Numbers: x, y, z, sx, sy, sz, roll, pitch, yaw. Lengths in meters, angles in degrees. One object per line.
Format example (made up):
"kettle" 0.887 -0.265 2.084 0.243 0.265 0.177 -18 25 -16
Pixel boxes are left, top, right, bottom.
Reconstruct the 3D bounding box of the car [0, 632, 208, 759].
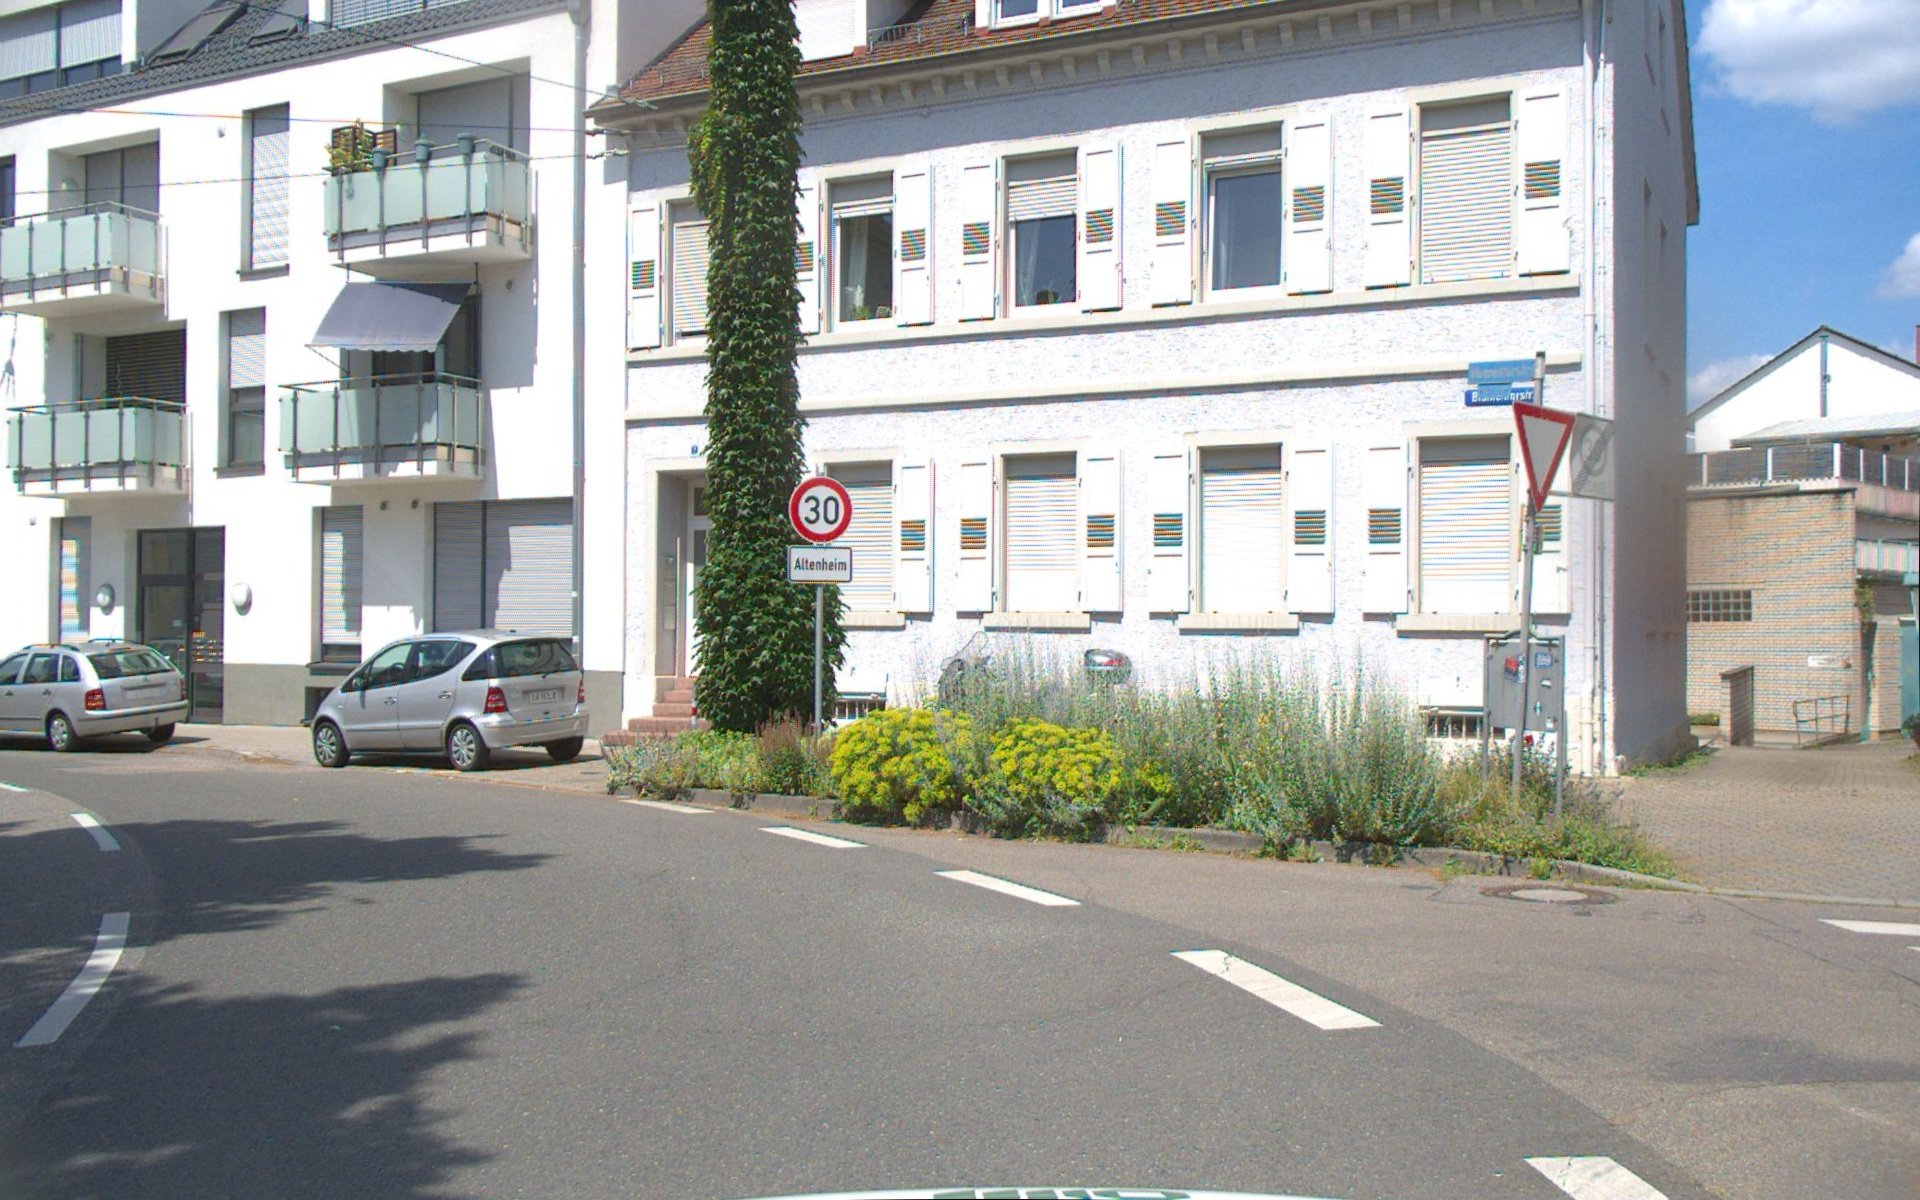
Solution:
"car" -12.740 1.308 23.698 3.824 1.491 1.658 1 3 31

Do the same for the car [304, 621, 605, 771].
"car" -6.171 1.124 20.099 3.543 1.614 1.579 0 -3 34
